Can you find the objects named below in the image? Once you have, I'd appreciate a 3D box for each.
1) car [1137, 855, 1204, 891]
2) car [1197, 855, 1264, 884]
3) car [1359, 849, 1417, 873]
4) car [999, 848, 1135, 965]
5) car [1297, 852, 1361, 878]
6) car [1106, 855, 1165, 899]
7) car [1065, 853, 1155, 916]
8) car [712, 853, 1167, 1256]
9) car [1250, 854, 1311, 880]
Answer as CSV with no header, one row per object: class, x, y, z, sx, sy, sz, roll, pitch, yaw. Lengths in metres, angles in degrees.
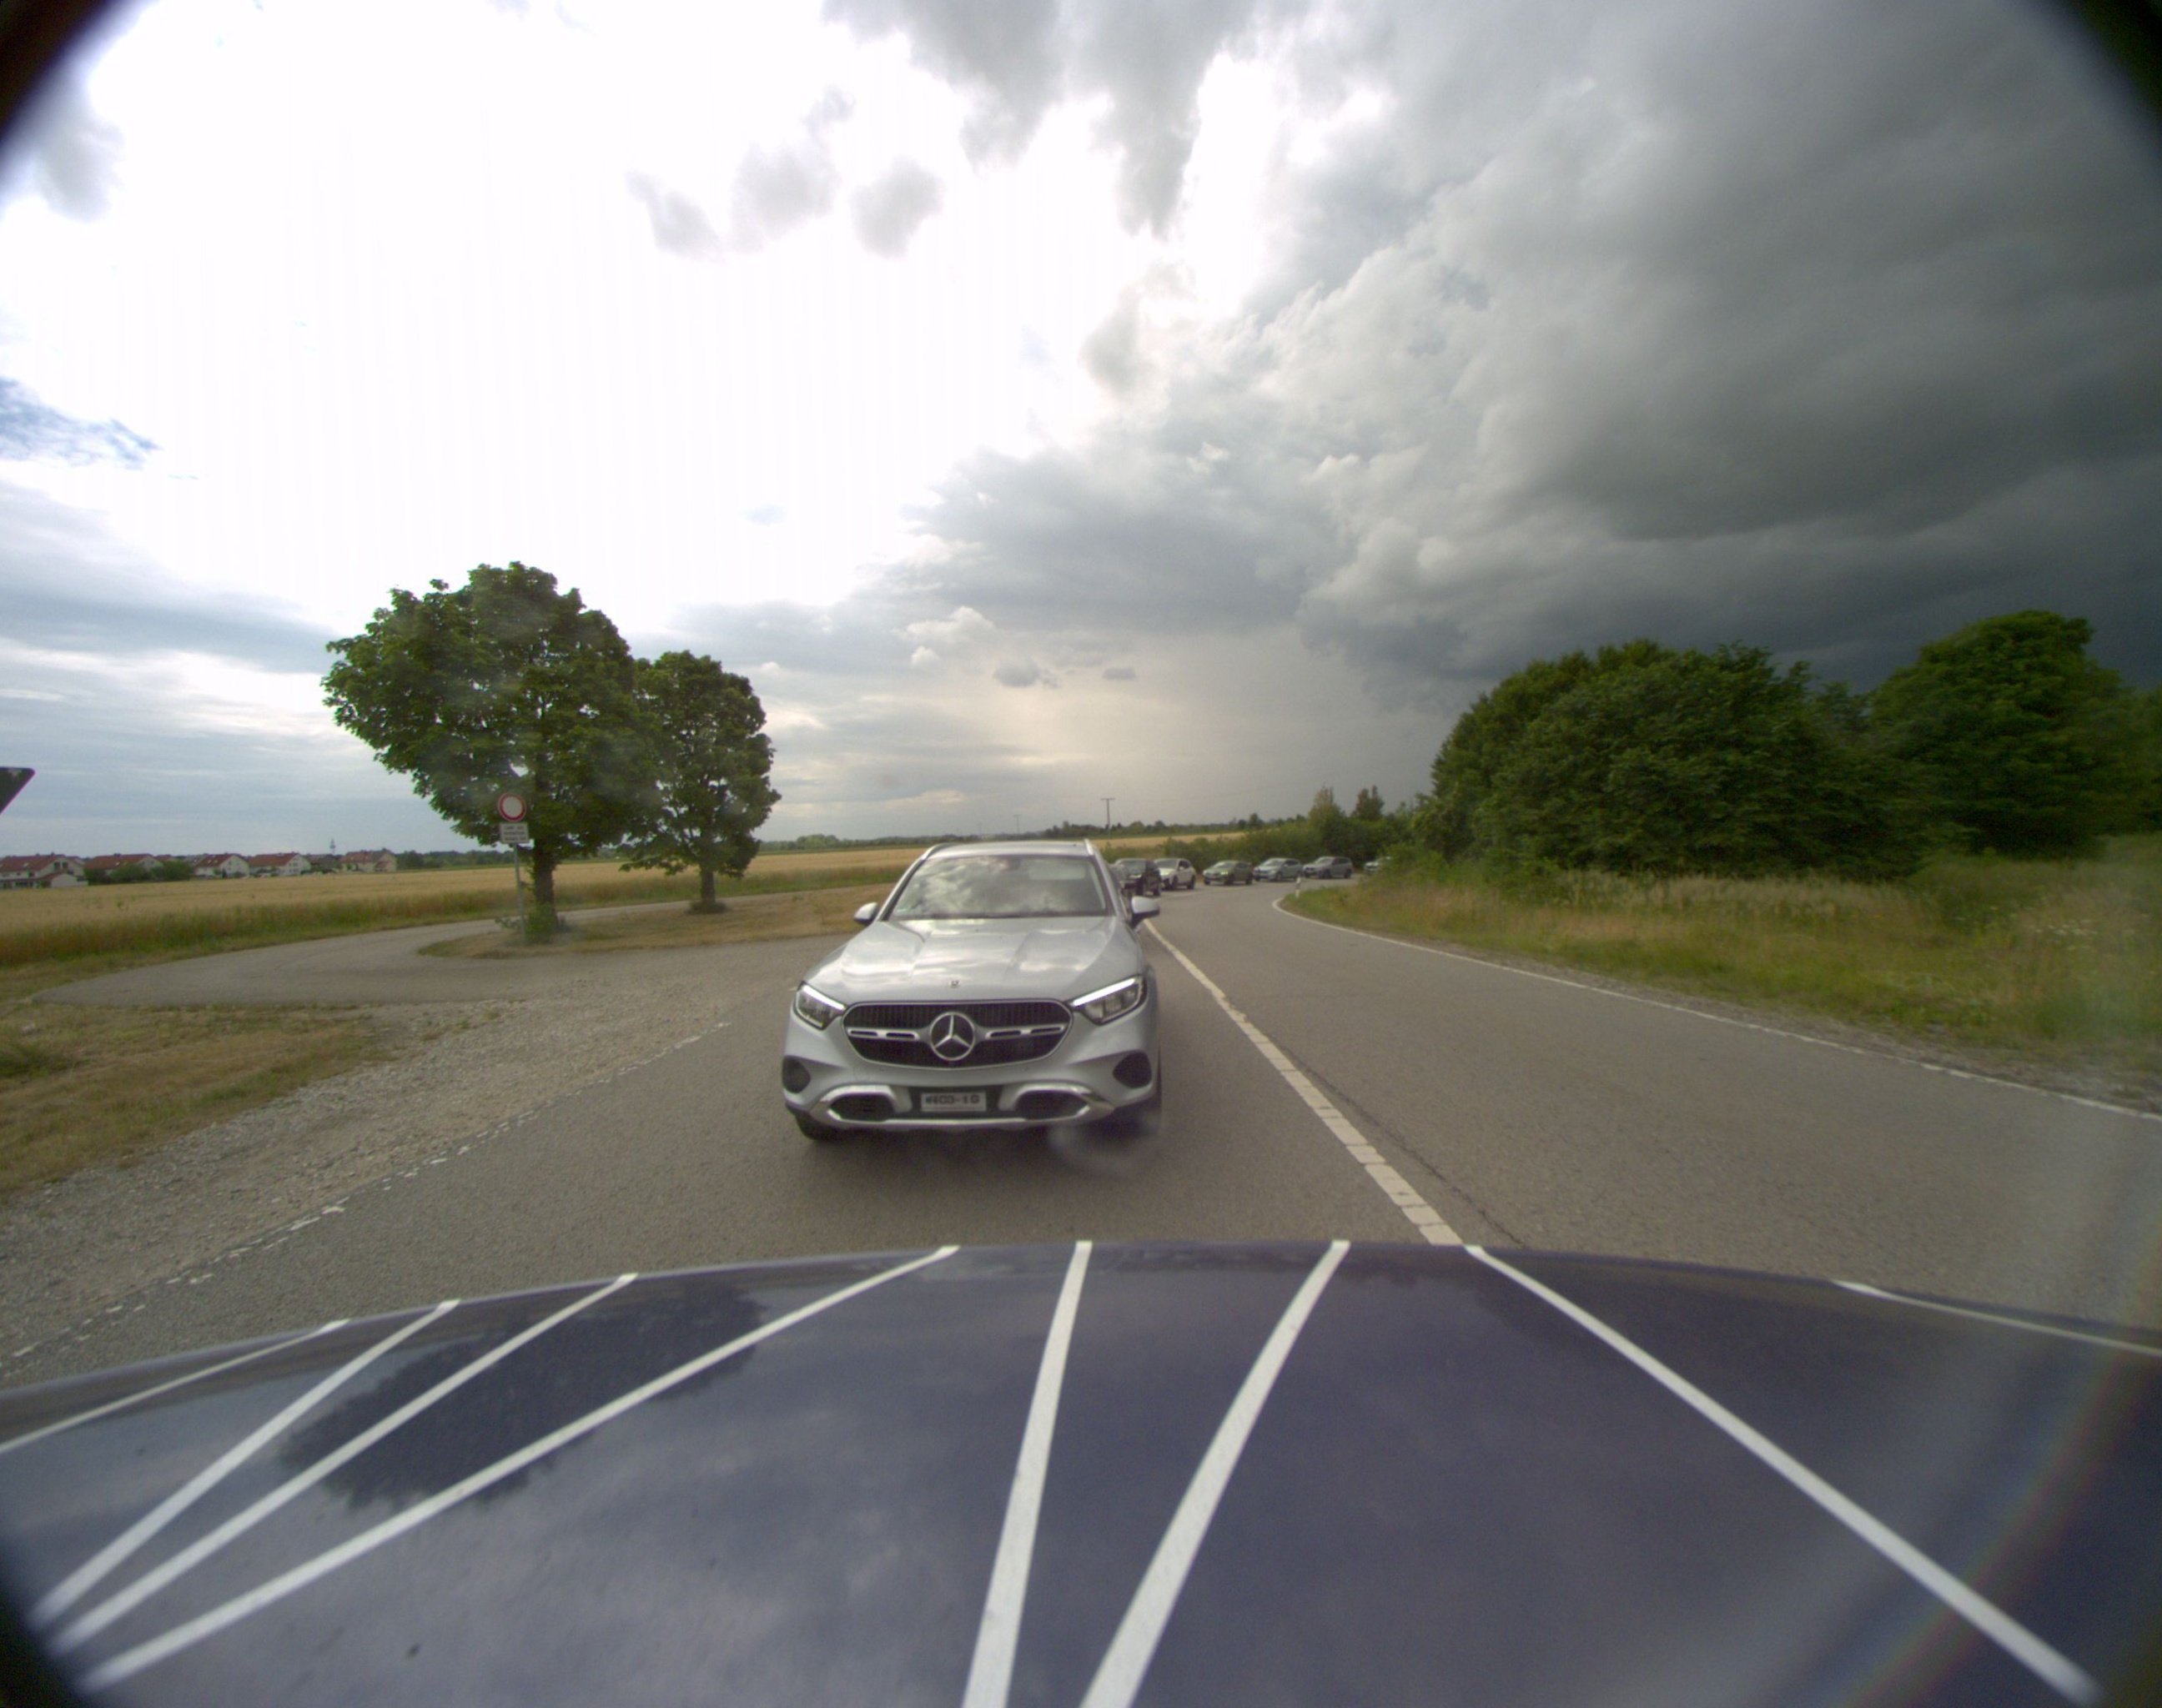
car,4.943,0.970,41.329,1.995,1.710,5.218,1,1,26
car,9.570,0.944,48.413,1.994,1.710,5.220,2,1,38
car,25.730,0.577,63.638,5.217,1.710,1.994,-3,3,-36
car,-0.048,0.823,13.895,1.998,1.709,5.211,-1,-1,4
car,19.261,0.789,58.946,5.217,1.710,1.994,-3,3,-36
car,2.522,0.943,33.800,1.997,1.710,5.213,1,1,11
car,1.043,0.884,23.767,1.997,1.709,5.214,1,-1,11
car,-0.558,0.842,5.396,1.836,1.577,4.449,-2,1,1
car,14.238,0.867,54.026,1.994,1.710,5.220,2,1,41
